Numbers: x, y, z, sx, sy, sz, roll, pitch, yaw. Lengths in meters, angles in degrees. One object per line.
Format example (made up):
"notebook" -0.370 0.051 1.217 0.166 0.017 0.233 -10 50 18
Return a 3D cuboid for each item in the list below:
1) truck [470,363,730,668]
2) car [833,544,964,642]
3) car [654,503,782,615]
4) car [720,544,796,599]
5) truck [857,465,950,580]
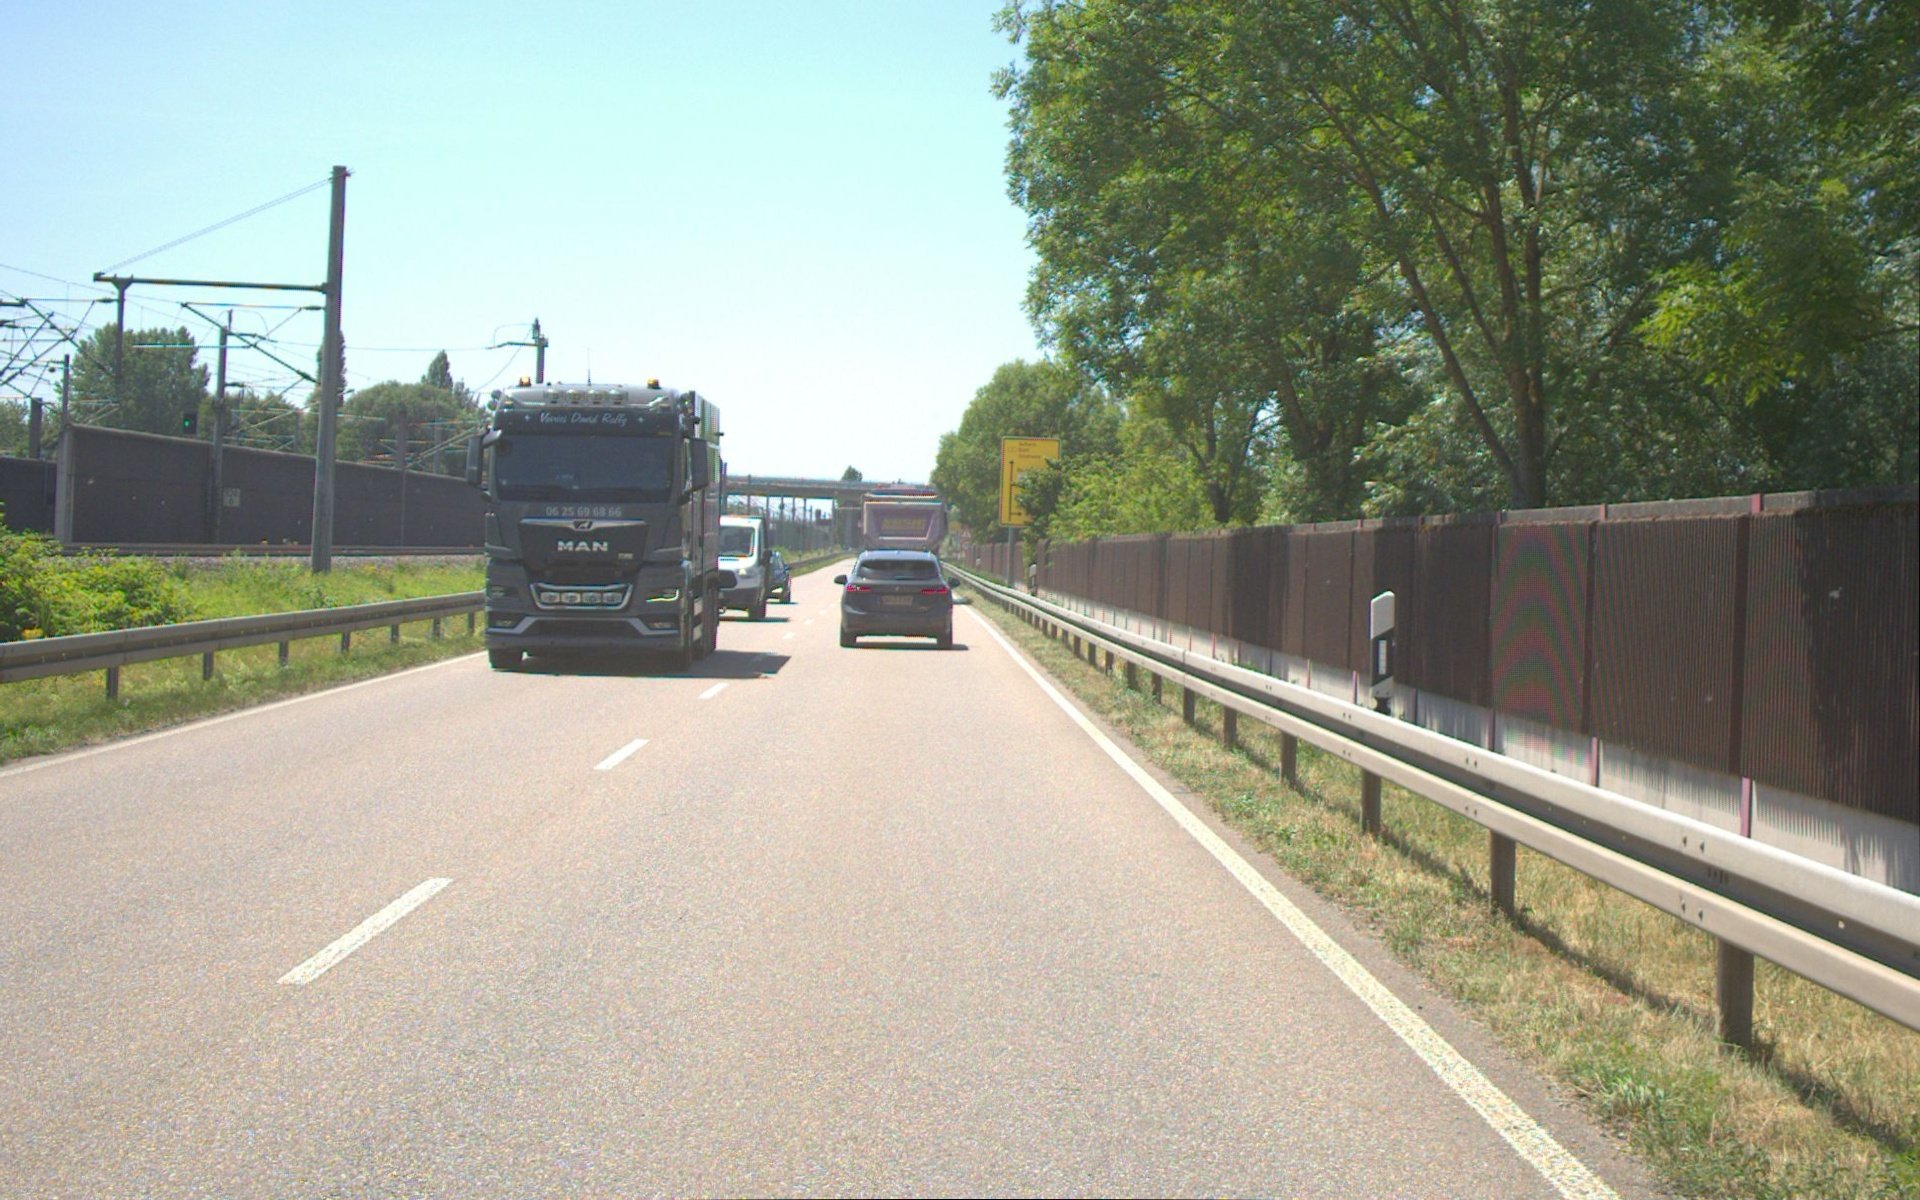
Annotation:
"truck" -4.730 -1.134 47.121 2.658 3.614 10.979 2 1 -2
"car" -1.040 -0.137 56.188 1.993 1.503 4.001 1 1 -3
"car" -5.227 -0.902 75.002 2.261 2.279 6.235 2 1 0
"car" -5.843 -0.847 99.777 1.975 1.503 4.163 1 1 -1
"truck" -1.785 -2.442 109.946 2.770 3.413 10.820 1 1 -1
